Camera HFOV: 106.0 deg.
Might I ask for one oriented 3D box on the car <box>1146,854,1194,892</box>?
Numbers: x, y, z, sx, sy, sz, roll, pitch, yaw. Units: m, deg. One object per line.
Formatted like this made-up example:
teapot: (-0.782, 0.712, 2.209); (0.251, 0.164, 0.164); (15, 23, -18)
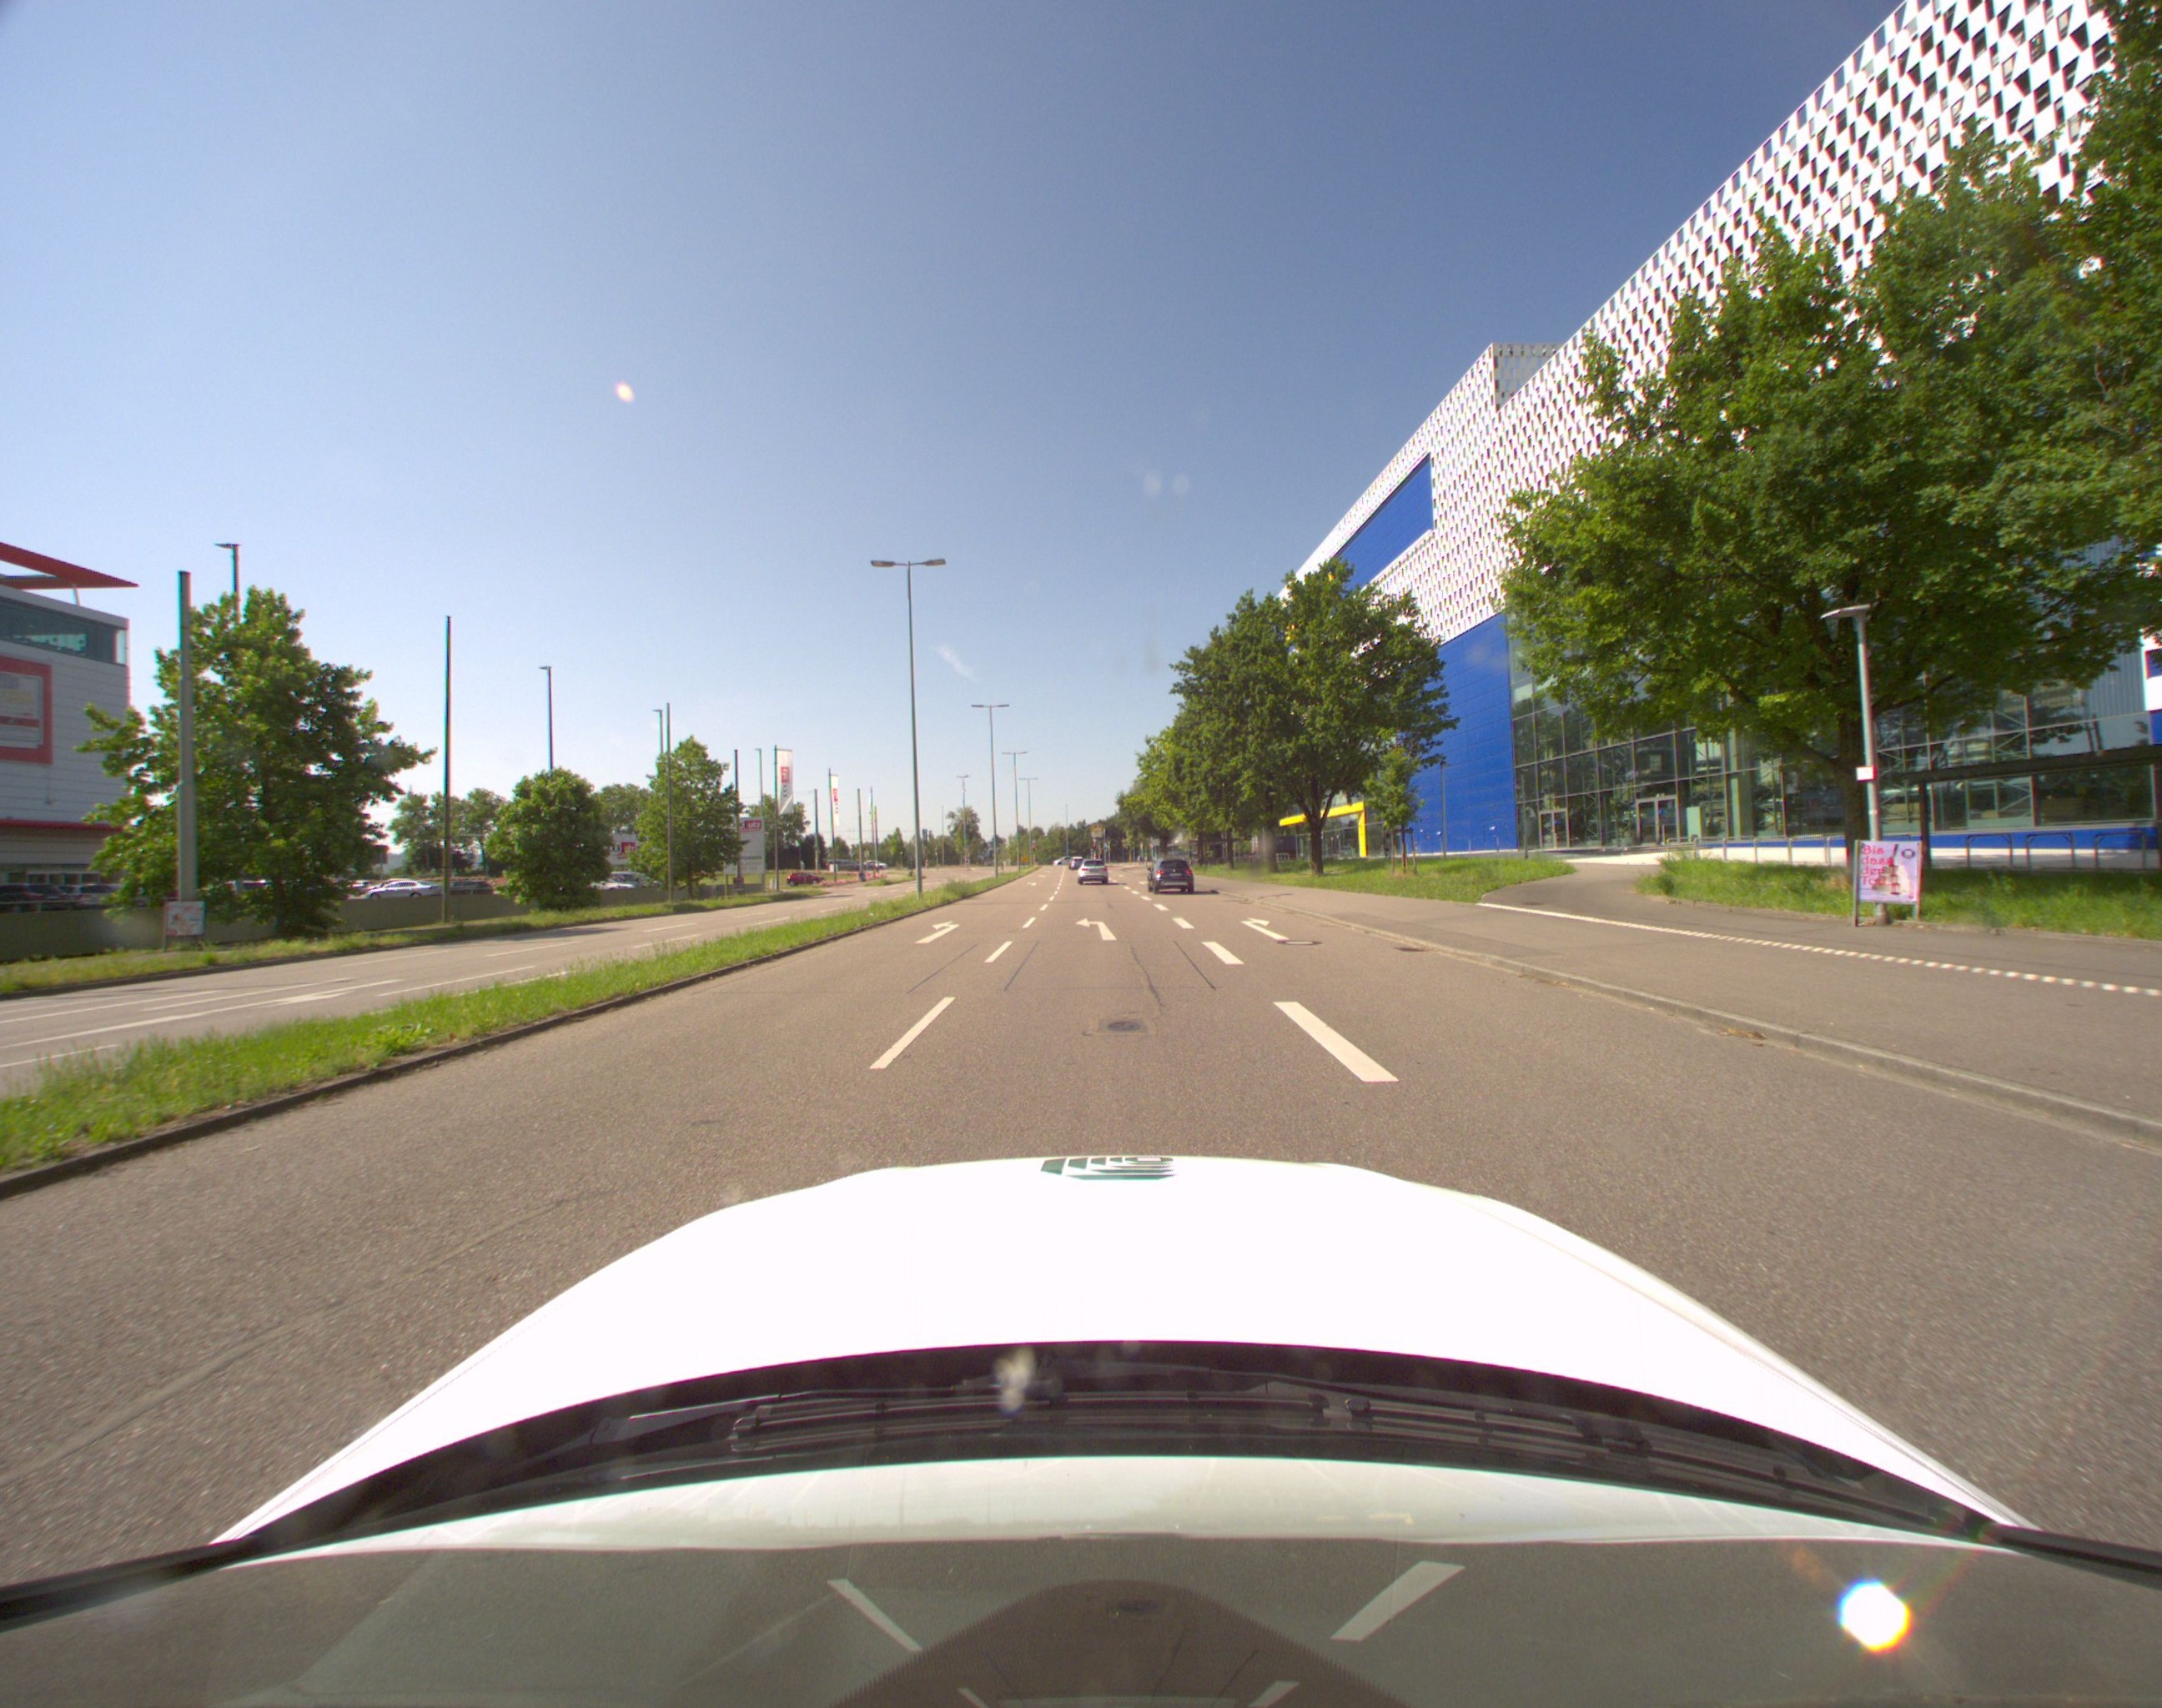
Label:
car: (3.850, 0.800, 35.647); (1.664, 1.523, 3.376); (-1, 0, 0)

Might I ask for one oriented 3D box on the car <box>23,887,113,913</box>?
car: (-57.392, 2.599, 46.165); (3.080, 1.330, 1.514); (-2, -2, -3)

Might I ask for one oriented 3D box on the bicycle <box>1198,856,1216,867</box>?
bicycle: (13.271, 0.749, 85.790); (1.753, 1.096, 0.452); (-2, 0, -2)

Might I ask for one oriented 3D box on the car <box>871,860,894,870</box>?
car: (-32.183, 1.776, 132.132); (3.338, 1.500, 1.407); (-2, -2, -6)

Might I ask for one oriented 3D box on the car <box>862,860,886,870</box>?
car: (-32.516, 1.689, 127.997); (3.379, 1.500, 1.408); (-2, -2, -4)

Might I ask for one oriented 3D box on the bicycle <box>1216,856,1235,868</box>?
bicycle: (14.076, 0.740, 79.417); (1.753, 1.096, 0.452); (-2, 0, -2)

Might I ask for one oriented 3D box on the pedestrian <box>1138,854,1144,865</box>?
pedestrian: (9.132, 0.843, 124.403); (0.768, 1.510, 1.010); (-2, 1, 10)

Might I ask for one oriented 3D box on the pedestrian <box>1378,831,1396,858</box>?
pedestrian: (18.905, -0.557, 50.339); (0.687, 1.612, 0.770); (-3, 0, -5)

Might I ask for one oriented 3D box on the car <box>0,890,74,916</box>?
car: (-56.833, 2.626, 43.882); (3.079, 1.294, 1.514); (-2, -2, -2)

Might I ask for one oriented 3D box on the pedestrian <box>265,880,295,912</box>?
pedestrian: (-52.675, 2.760, 53.566); (0.855, 2.013, 1.026); (-3, 0, 13)

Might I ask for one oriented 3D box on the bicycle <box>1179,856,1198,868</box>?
bicycle: (10.602, 0.791, 80.515); (1.753, 1.096, 0.452); (-2, 0, -2)

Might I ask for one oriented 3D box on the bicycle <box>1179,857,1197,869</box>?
bicycle: (10.633, 0.881, 81.061); (1.753, 1.096, 0.452); (-2, 0, -2)

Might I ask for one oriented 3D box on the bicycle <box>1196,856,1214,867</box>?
bicycle: (13.372, 0.834, 87.920); (1.753, 1.096, 0.452); (-2, 0, -2)

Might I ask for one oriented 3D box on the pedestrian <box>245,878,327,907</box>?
pedestrian: (-59.645, 2.878, 61.150); (1.974, 2.014, 4.024); (-3, -2, 30)

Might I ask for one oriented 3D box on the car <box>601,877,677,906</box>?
car: (-32.409, 2.734, 59.795); (4.401, 1.843, 1.944); (-2, -1, -2)

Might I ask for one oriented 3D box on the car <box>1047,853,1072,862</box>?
car: (-3.959, 0.562, 149.431); (4.090, 1.547, 1.786); (-1, -1, -22)

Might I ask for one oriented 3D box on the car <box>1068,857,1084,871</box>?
car: (-0.660, 1.154, 98.269); (1.702, 1.573, 4.170); (-3, 0, -3)

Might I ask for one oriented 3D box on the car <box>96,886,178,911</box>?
car: (-57.013, 2.674, 49.217); (3.080, 1.330, 1.514); (-2, -2, -3)

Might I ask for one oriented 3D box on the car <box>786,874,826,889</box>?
car: (-32.658, 3.279, 96.796); (4.178, 1.606, 1.822); (-2, -2, -6)

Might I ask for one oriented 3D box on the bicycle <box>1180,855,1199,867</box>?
bicycle: (10.612, 0.656, 79.593); (1.753, 1.096, 0.452); (-3, 0, -2)

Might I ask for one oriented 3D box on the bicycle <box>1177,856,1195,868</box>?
bicycle: (10.771, 0.833, 83.222); (1.753, 1.096, 0.452); (-2, 0, -2)

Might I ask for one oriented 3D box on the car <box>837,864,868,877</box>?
car: (-34.063, 2.430, 121.393); (3.953, 1.925, 1.826); (-1, 1, 20)

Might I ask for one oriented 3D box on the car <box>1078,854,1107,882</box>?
car: (0.681, 0.809, 49.681); (1.626, 1.498, 3.868); (-1, 2, -1)

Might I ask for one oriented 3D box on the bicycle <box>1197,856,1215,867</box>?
bicycle: (13.346, 0.843, 86.854); (1.823, 1.096, 0.452); (-2, 0, -2)

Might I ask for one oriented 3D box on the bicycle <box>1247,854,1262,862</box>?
bicycle: (19.413, 0.447, 91.134); (1.556, 0.843, 0.434); (-2, 0, 0)

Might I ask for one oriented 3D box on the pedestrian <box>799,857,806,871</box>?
pedestrian: (-39.103, 1.384, 114.338); (0.713, 1.972, 0.918); (-2, -2, 3)

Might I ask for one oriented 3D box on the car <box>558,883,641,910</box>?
car: (-32.362, 2.838, 54.820); (4.404, 1.628, 1.868); (-2, -3, -5)

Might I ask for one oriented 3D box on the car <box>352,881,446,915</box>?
car: (-47.714, 3.080, 57.041); (4.662, 2.013, 2.026); (-3, 0, -5)
